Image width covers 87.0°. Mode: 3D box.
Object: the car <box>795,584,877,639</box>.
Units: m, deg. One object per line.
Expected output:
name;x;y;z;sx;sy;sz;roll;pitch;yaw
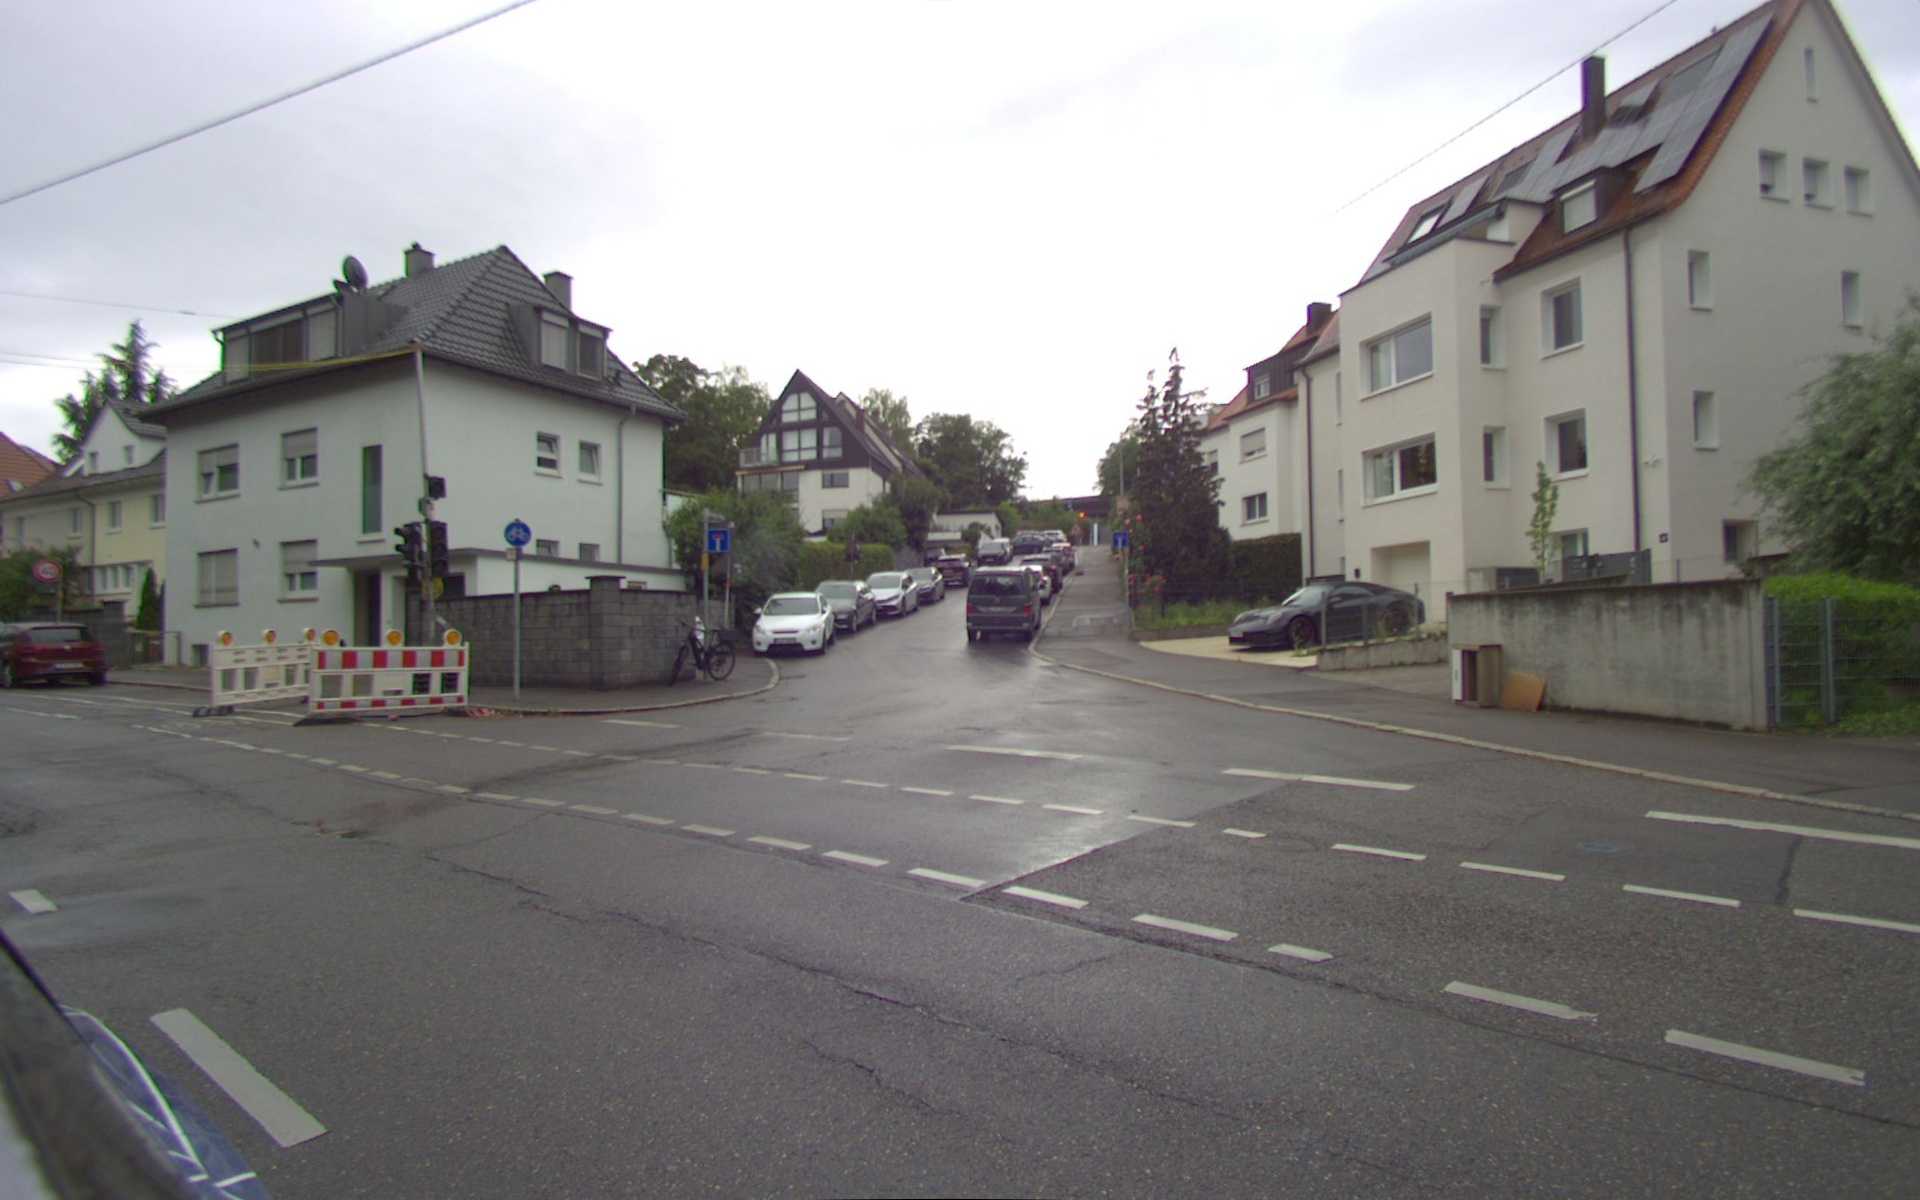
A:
car;-3.826;0.319;31.812;1.702;1.397;3.900;-1;4;6

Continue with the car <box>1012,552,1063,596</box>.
car;3.521;-1.194;45.371;1.823;1.699;4.039;-1;5;11

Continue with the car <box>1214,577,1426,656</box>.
car;7.708;0.332;21.767;3.942;1.290;1.613;-5;1;-13

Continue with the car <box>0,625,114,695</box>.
car;-21.467;1.335;23.375;3.833;1.443;1.768;-1;-1;30

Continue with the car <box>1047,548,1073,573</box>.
car;6.236;-2.448;62.843;1.488;1.373;3.465;-1;0;8

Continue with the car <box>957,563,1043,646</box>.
car;1.243;0.049;29.320;1.978;2.028;4.482;-1;4;9

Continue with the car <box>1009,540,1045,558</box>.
car;5.550;-4.199;83.649;2.914;1.328;1.282;-1;0;4

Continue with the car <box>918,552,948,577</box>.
car;-1.829;-2.419;69.788;1.793;1.566;4.009;-1;0;3

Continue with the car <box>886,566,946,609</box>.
car;-1.807;-0.554;42.954;1.903;1.448;4.100;-1;5;7

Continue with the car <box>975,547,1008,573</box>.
car;2.194;-2.671;68.881;1.770;1.531;4.016;-1;0;9

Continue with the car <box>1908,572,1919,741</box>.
car;10.607;0.421;8.544;3.934;1.497;1.780;-2;-1;-12

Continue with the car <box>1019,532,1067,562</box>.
car;7.199;-4.563;87.638;3.954;2.028;1.995;-5;-1;8

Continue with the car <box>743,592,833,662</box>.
car;-4.353;0.624;26.150;1.827;1.473;4.124;-1;3;-3

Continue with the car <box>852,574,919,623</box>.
car;-2.657;-0.085;37.081;1.738;1.481;3.940;-1;4;6

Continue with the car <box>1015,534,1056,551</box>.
car;7.386;-5.590;98.784;3.922;1.528;1.748;-1;0;6

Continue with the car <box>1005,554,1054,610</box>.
car;2.820;-0.755;40.319;1.686;1.843;4.194;-1;6;7

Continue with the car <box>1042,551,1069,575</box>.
car;5.501;-2.144;58.107;1.274;1.325;2.984;-1;3;10

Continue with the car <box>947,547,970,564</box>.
car;-0.085;-3.259;74.016;1.559;1.220;3.650;-1;3;2

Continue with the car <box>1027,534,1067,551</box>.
car;8.934;-5.900;103.910;3.782;1.529;1.664;-1;-1;15

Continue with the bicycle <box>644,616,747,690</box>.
bicycle;-4.784;0.931;18.451;0.508;1.249;1.984;1;0;32

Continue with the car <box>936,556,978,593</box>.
car;-0.115;-1.363;52.460;1.623;1.637;3.992;-1;5;8

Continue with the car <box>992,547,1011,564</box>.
car;3.055;-3.327;74.706;1.292;1.206;2.980;-1;3;5

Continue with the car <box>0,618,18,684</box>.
car;-26.152;1.319;25.767;4.131;1.653;1.782;-1;-1;25
